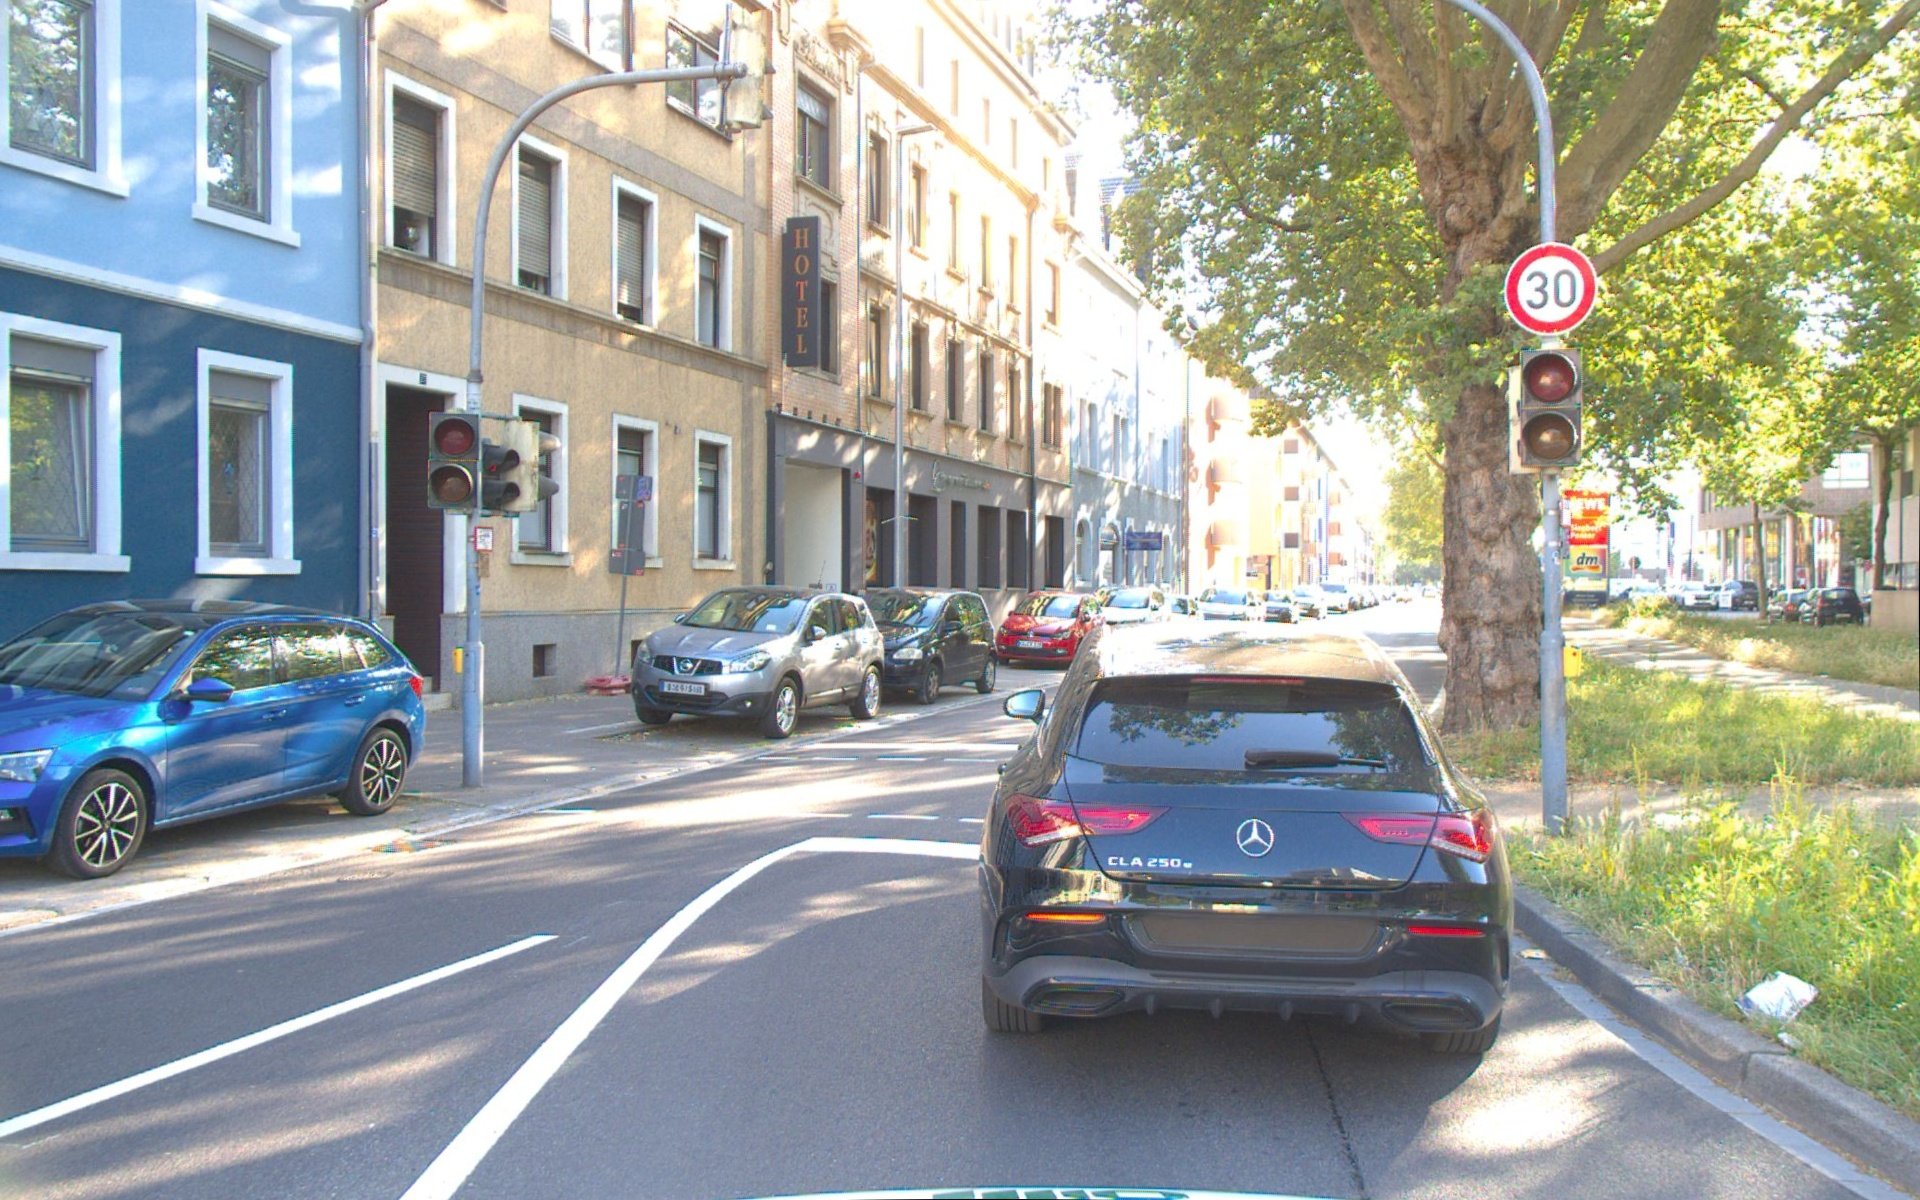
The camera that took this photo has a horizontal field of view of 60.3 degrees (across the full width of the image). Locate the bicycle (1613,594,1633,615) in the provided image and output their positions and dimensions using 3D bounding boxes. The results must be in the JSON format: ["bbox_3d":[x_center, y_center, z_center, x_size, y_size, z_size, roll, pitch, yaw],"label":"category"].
[{"bbox_3d":[32.097,0.215,80.103,0.375,1.021,1.486,0,0,1],"label":"bicycle"}]

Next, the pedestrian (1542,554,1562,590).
[{"bbox_3d":[29.747,-1.394,83.152,0.751,1.792,0.664,-2,0,7],"label":"pedestrian"}]

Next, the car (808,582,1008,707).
[{"bbox_3d":[-0.674,0.574,24.243,1.643,1.633,3.706,2,1,20],"label":"car"}]

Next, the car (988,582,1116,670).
[{"bbox_3d":[1.917,0.468,33.373,1.643,1.620,3.758,2,1,18],"label":"car"}]

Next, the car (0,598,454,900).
[{"bbox_3d":[-5.282,0.787,10.930,1.615,1.512,4.265,2,1,16],"label":"car"}]

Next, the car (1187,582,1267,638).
[{"bbox_3d":[8.783,0.285,54.083,1.868,1.670,4.579,2,1,18],"label":"car"}]

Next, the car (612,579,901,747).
[{"bbox_3d":[-2.244,0.631,19.462,1.744,1.702,4.158,2,1,18],"label":"car"}]

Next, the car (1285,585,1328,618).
[{"bbox_3d":[17.186,0.040,81.915,1.643,1.550,4.023,2,1,18],"label":"car"}]

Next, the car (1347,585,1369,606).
[{"bbox_3d":[30.543,-0.343,126.941,1.515,1.550,4.008,2,1,15],"label":"car"}]

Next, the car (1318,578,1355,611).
[{"bbox_3d":[23.084,-0.382,101.282,1.698,1.940,5.211,1,1,18],"label":"car"}]

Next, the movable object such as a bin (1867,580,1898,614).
[{"bbox_3d":[40.650,-0.125,72.882,1.170,1.488,1.405,0,0,29],"label":"movable object such as a bin"}]

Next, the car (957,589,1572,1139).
[{"bbox_3d":[1.079,0.735,6.734,1.707,1.468,3.972,2,1,6],"label":"car"}]

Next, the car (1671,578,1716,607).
[{"bbox_3d":[45.055,-0.459,101.598,1.835,1.764,4.184,0,0,14],"label":"car"}]

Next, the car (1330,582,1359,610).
[{"bbox_3d":[26.561,-0.281,114.199,1.708,1.818,4.553,2,1,15],"label":"car"}]

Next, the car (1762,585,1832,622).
[{"bbox_3d":[34.925,0.108,69.128,1.819,1.494,4.127,0,0,15],"label":"car"}]

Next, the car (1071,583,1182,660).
[{"bbox_3d":[3.886,0.440,38.045,1.643,1.612,4.202,2,1,18],"label":"car"}]

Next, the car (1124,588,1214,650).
[{"bbox_3d":[5.621,0.469,44.175,1.643,1.522,3.873,2,1,18],"label":"car"}]

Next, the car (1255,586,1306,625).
[{"bbox_3d":[13.445,0.209,69.309,1.643,1.512,3.603,2,1,18],"label":"car"}]

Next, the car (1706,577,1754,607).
[{"bbox_3d":[46.928,-0.486,100.864,1.943,1.764,4.183,0,0,15],"label":"car"}]

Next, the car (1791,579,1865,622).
[{"bbox_3d":[32.673,0.004,62.343,1.820,1.580,3.762,0,0,17],"label":"car"}]
